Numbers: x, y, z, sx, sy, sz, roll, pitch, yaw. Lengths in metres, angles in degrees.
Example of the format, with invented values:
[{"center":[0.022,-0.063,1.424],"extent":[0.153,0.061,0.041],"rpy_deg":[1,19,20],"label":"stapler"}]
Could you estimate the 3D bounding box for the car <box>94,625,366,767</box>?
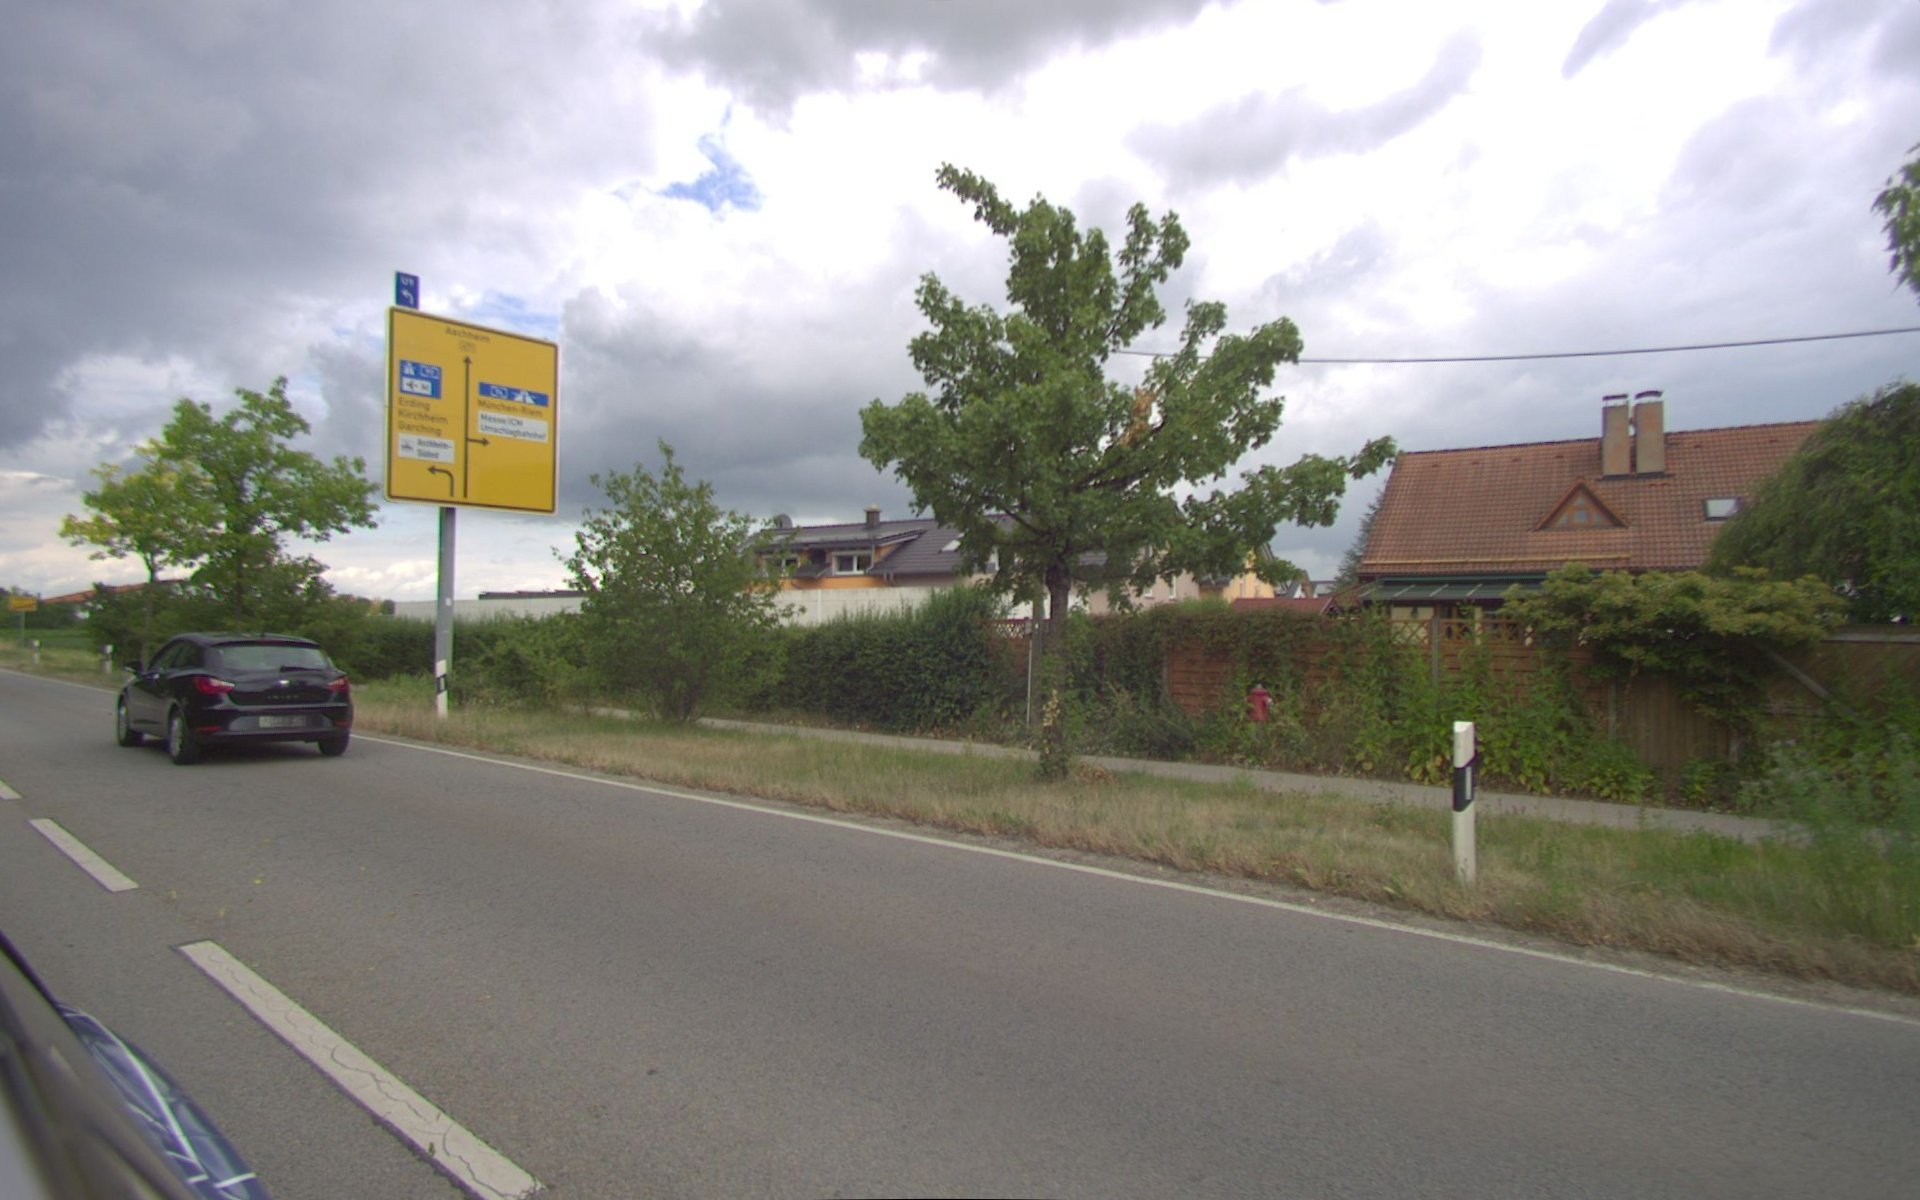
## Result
[{"center":[-8.815,1.052,12.102],"extent":[4.009,1.422,1.659],"rpy_deg":[-2,-4,40],"label":"car"}]
